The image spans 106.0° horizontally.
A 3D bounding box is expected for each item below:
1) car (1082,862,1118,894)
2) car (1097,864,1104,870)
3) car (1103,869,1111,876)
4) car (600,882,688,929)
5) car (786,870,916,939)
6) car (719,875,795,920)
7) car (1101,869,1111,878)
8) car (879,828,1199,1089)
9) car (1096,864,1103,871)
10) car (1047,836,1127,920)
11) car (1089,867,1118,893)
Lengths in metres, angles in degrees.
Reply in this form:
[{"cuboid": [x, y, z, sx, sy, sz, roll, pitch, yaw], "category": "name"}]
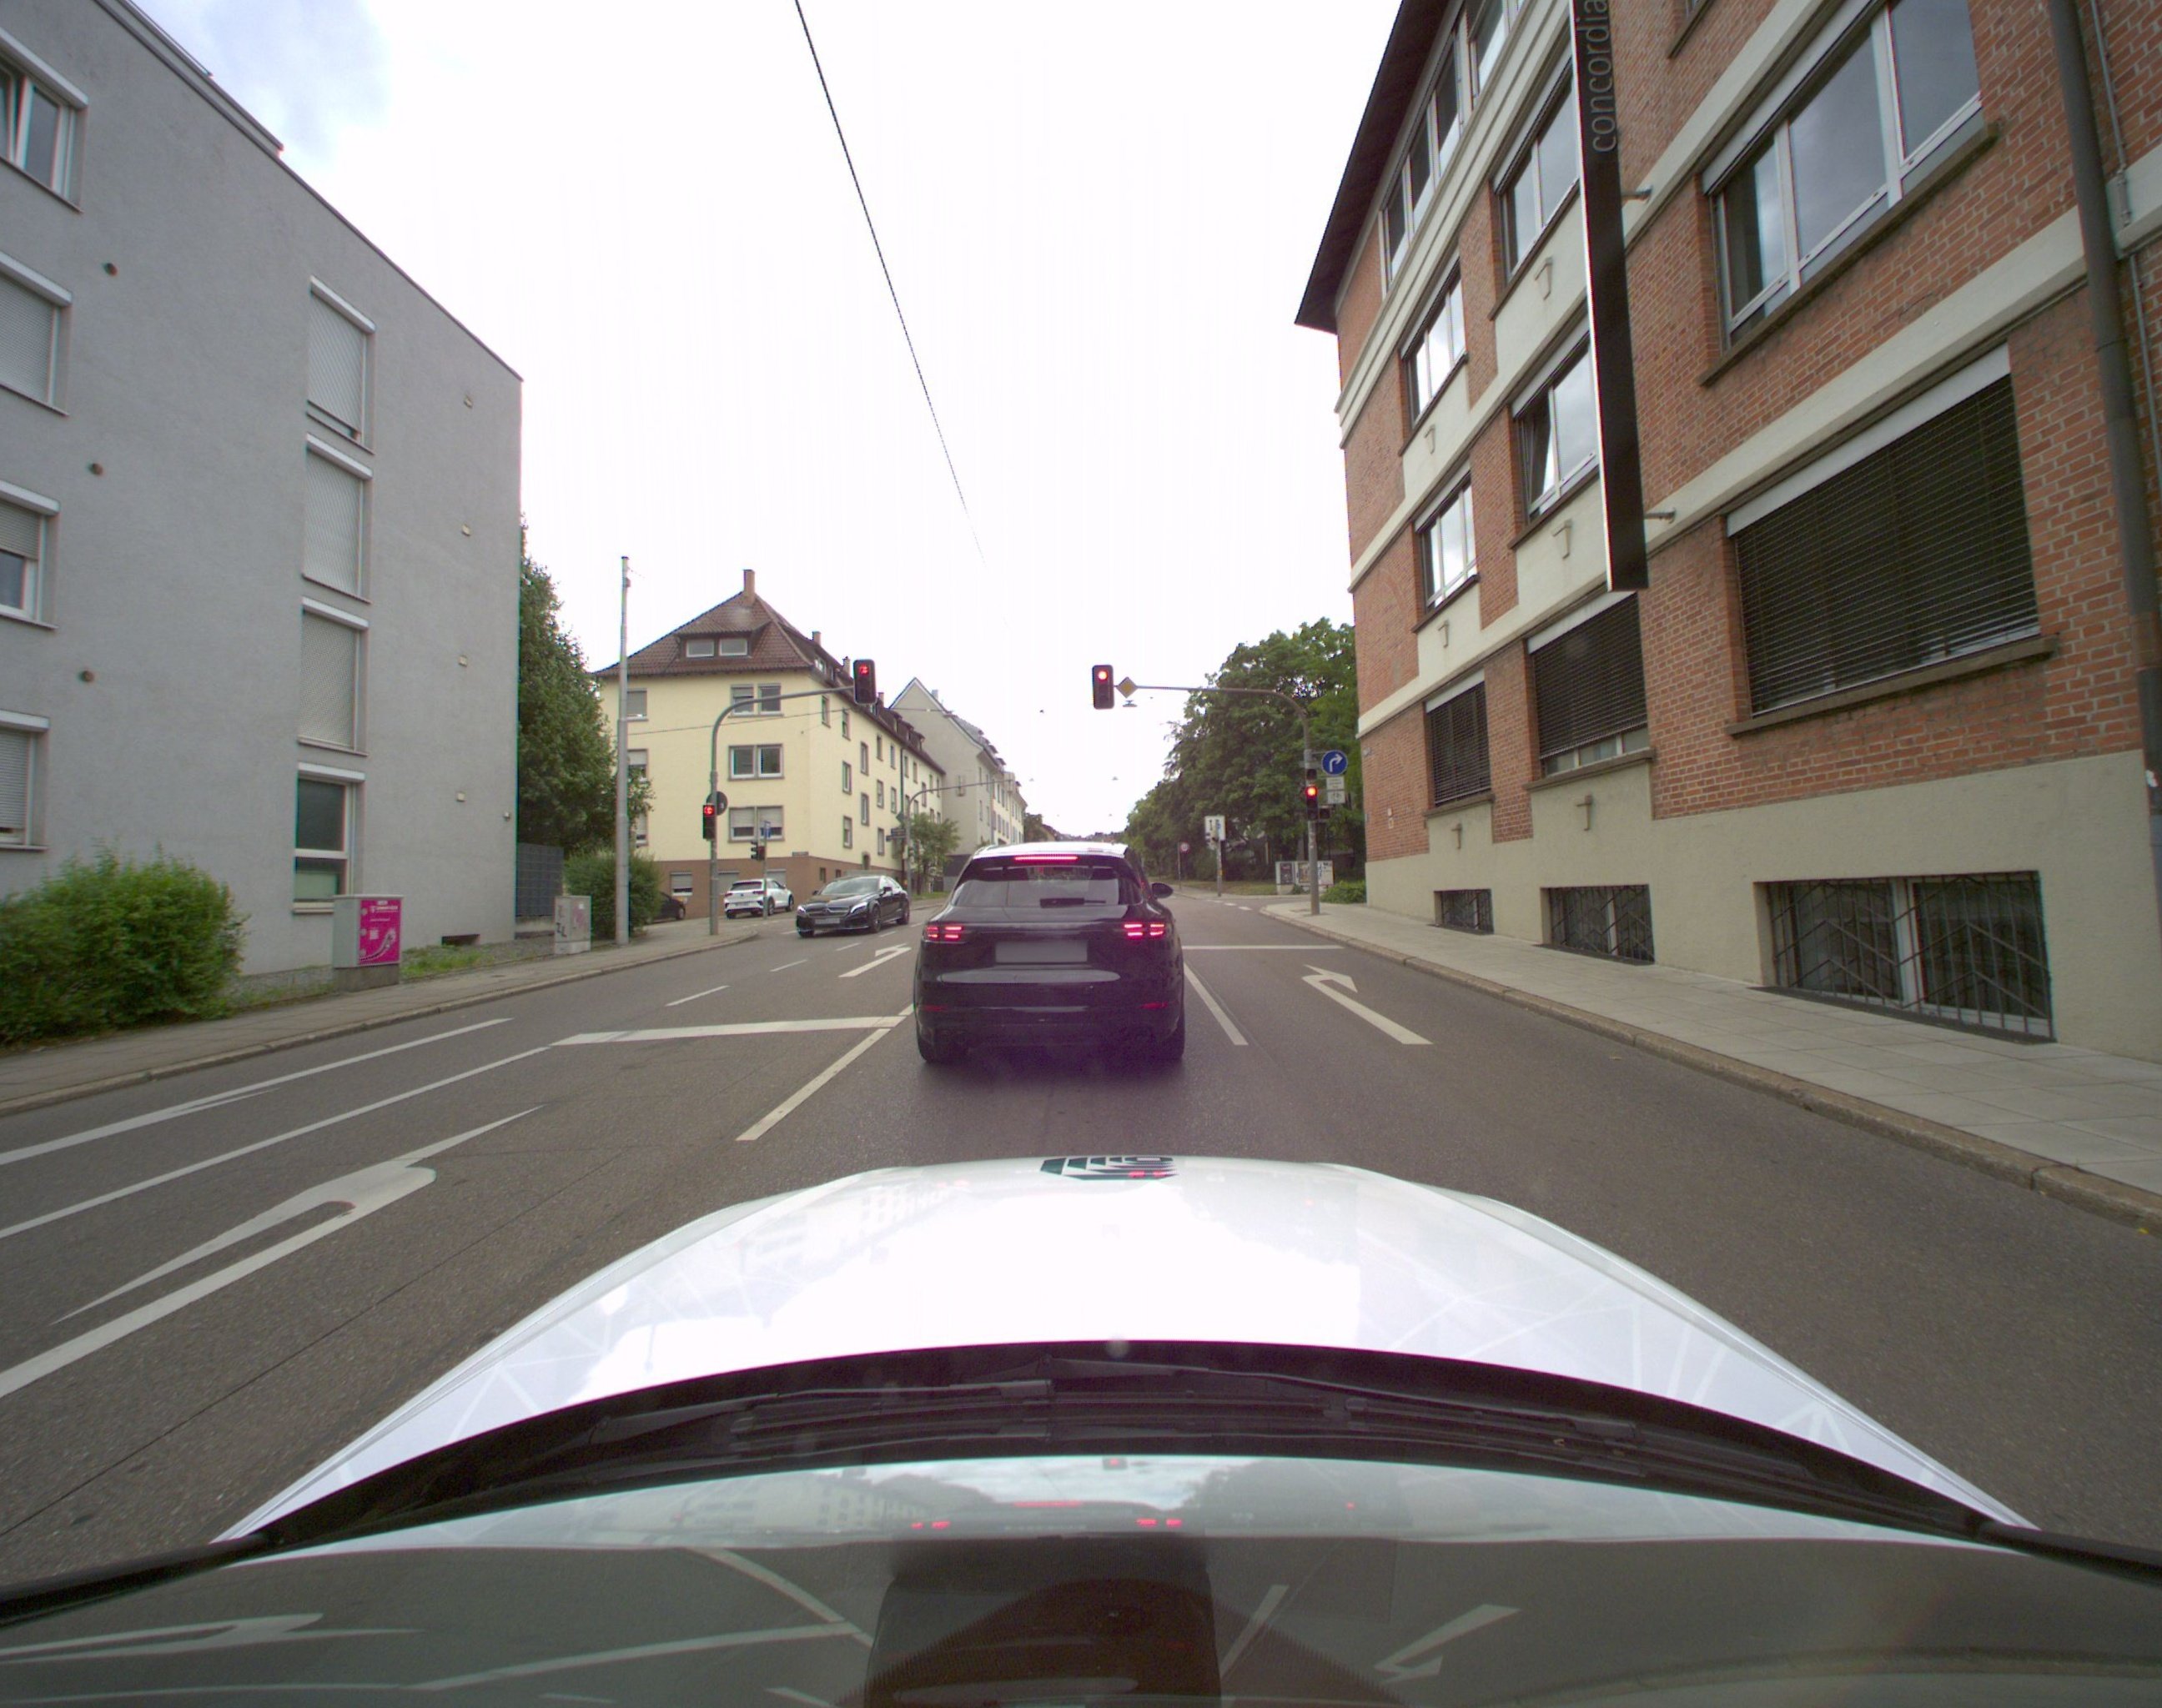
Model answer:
[{"cuboid": [1.053, 1.268, 43.931, 1.820, 1.605, 4.137, 0, 0, 2], "category": "car"}, {"cuboid": [5.069, 3.291, 210.376, 1.820, 1.605, 4.137, 0, 0, 2], "category": "car"}, {"cuboid": [5.861, 4.147, 182.531, 1.820, 1.605, 4.137, 0, 0, 2], "category": "car"}, {"cuboid": [-18.497, 2.135, 34.639, 1.686, 1.608, 3.763, -4, 0, -2], "category": "car"}, {"cuboid": [-5.738, 1.204, 20.969, 1.778, 1.418, 4.672, -4, -1, 2], "category": "car"}, {"cuboid": [-13.534, 1.770, 34.239, 1.686, 1.555, 3.763, -4, 0, -2], "category": "car"}, {"cuboid": [4.997, 3.912, 162.610, 1.820, 1.605, 4.137, 0, 0, 2], "category": "car"}, {"cuboid": [-0.193, 0.674, 7.349, 2.040, 1.666, 4.269, 0, 0, 2], "category": "car"}, {"cuboid": [4.651, 3.315, 203.054, 1.820, 1.605, 4.137, 0, 0, 2], "category": "car"}, {"cuboid": [0.229, 0.594, 22.022, 1.957, 2.042, 4.137, 0, 0, 2], "category": "car"}, {"cuboid": [1.467, 1.648, 52.638, 1.820, 1.605, 3.860, 0, 0, 2], "category": "car"}]
